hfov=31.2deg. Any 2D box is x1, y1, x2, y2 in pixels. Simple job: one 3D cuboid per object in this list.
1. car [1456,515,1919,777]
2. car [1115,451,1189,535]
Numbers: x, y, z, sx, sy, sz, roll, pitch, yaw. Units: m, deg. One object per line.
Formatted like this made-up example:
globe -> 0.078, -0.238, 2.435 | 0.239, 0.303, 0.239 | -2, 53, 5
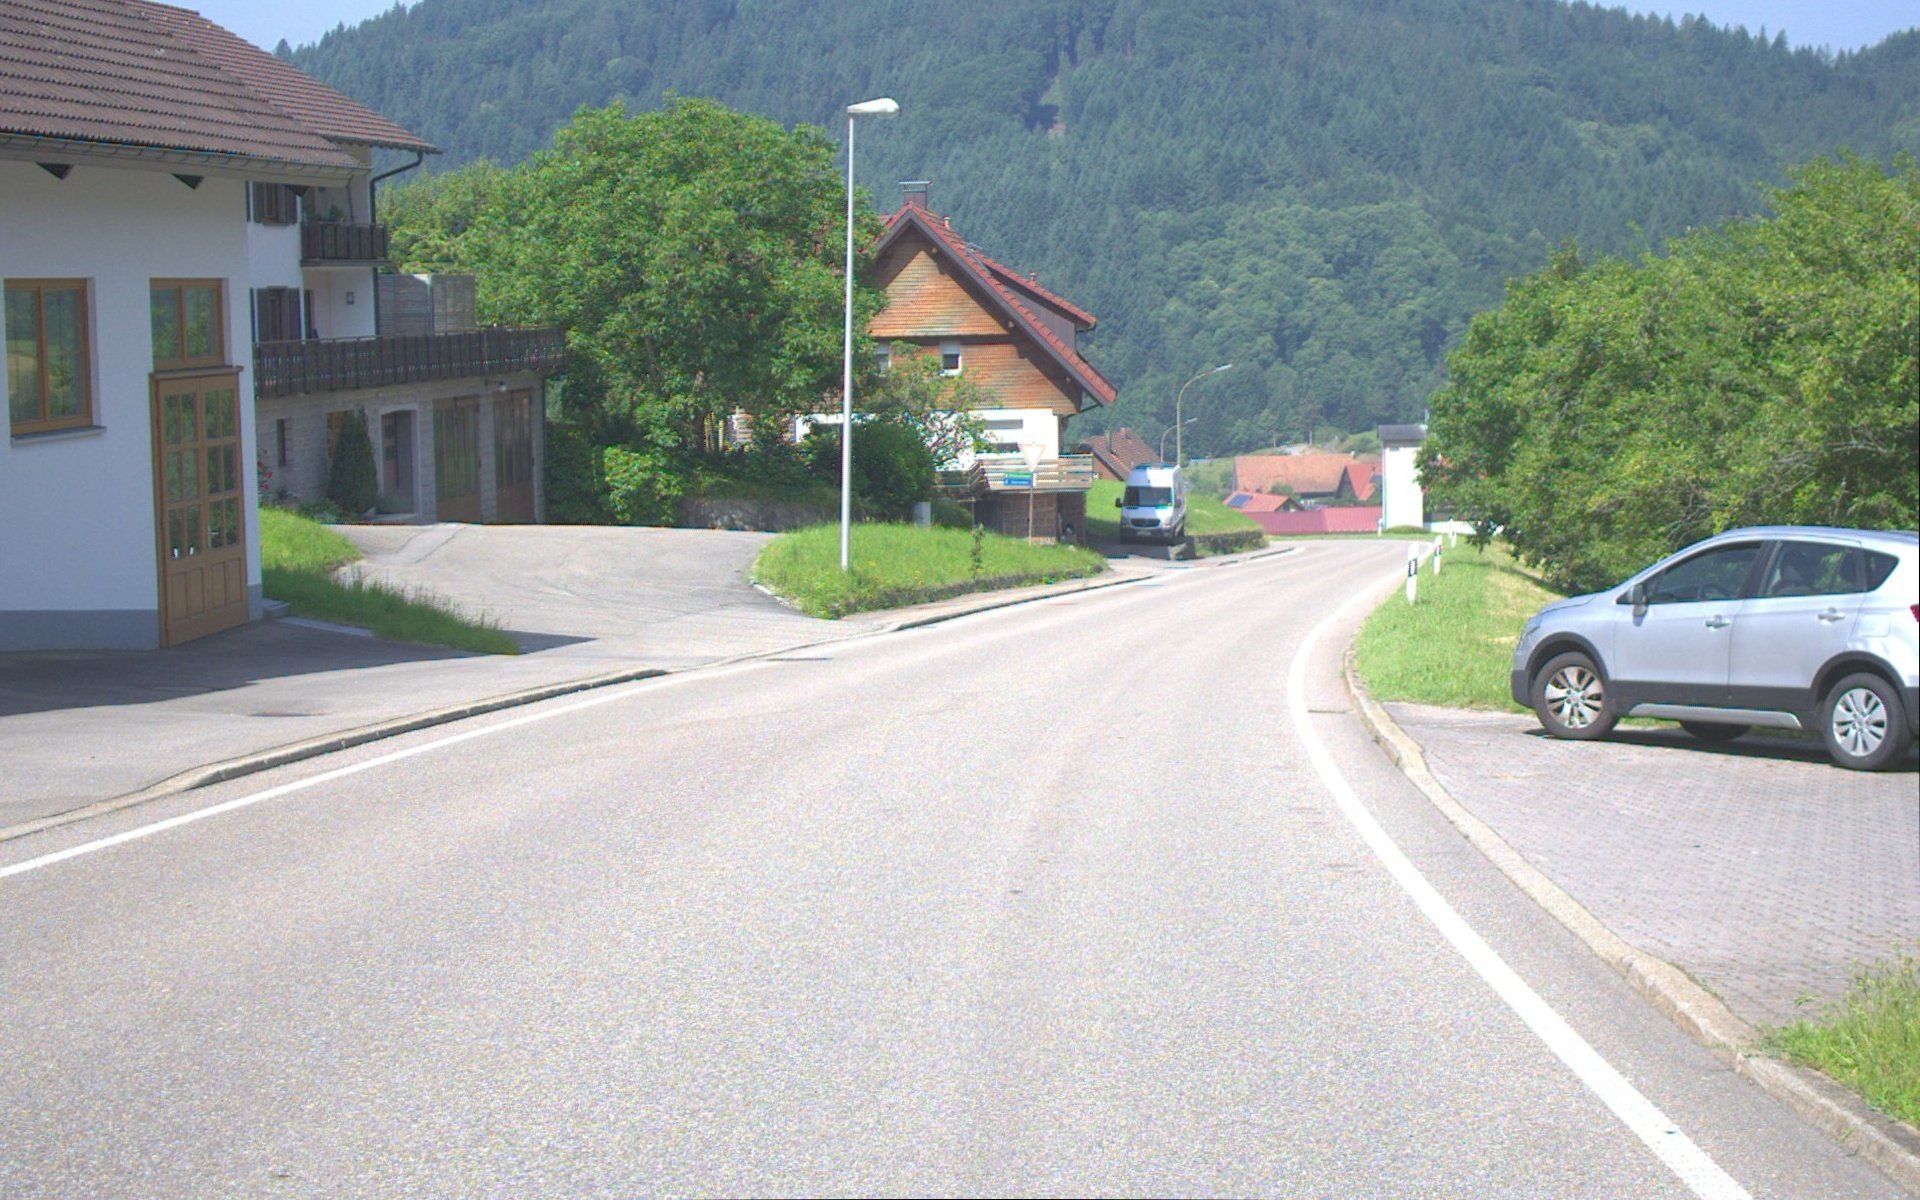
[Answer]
car -> 5.740, 0.260, 23.962 | 1.900, 1.565, 4.462 | 0, 2, -36
car -> 7.035, -3.955, 125.523 | 2.068, 2.679, 7.173 | -1, 5, 8
